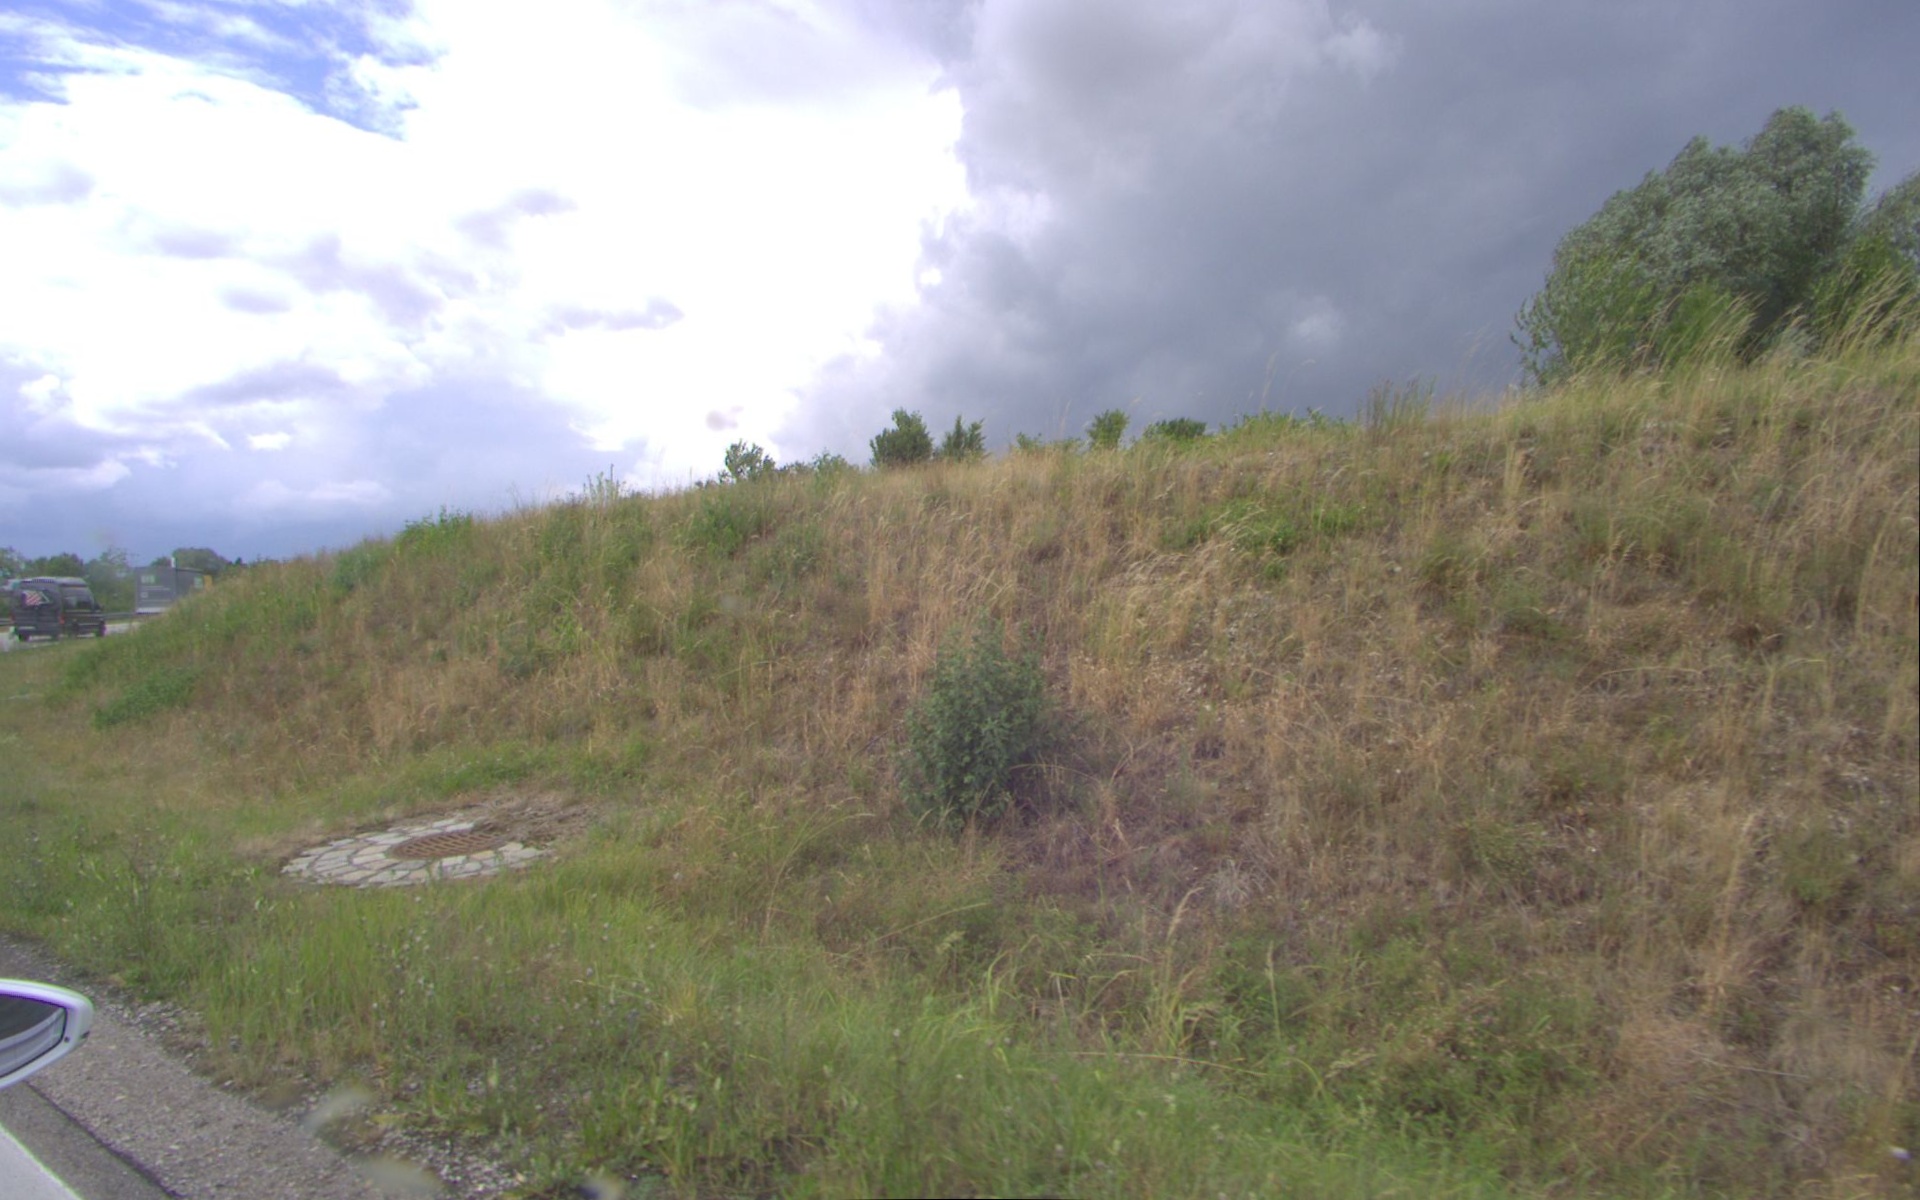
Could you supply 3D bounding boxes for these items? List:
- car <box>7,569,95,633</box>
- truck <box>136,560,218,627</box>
[{"bbox_3d":[-42.593,0.110,47.039,2.080,2.832,3.982,1,-1,-28],"label":"car"},{"bbox_3d":[-49.784,-0.329,63.843,2.197,3.955,6.006,0,-2,-19],"label":"truck"}]
